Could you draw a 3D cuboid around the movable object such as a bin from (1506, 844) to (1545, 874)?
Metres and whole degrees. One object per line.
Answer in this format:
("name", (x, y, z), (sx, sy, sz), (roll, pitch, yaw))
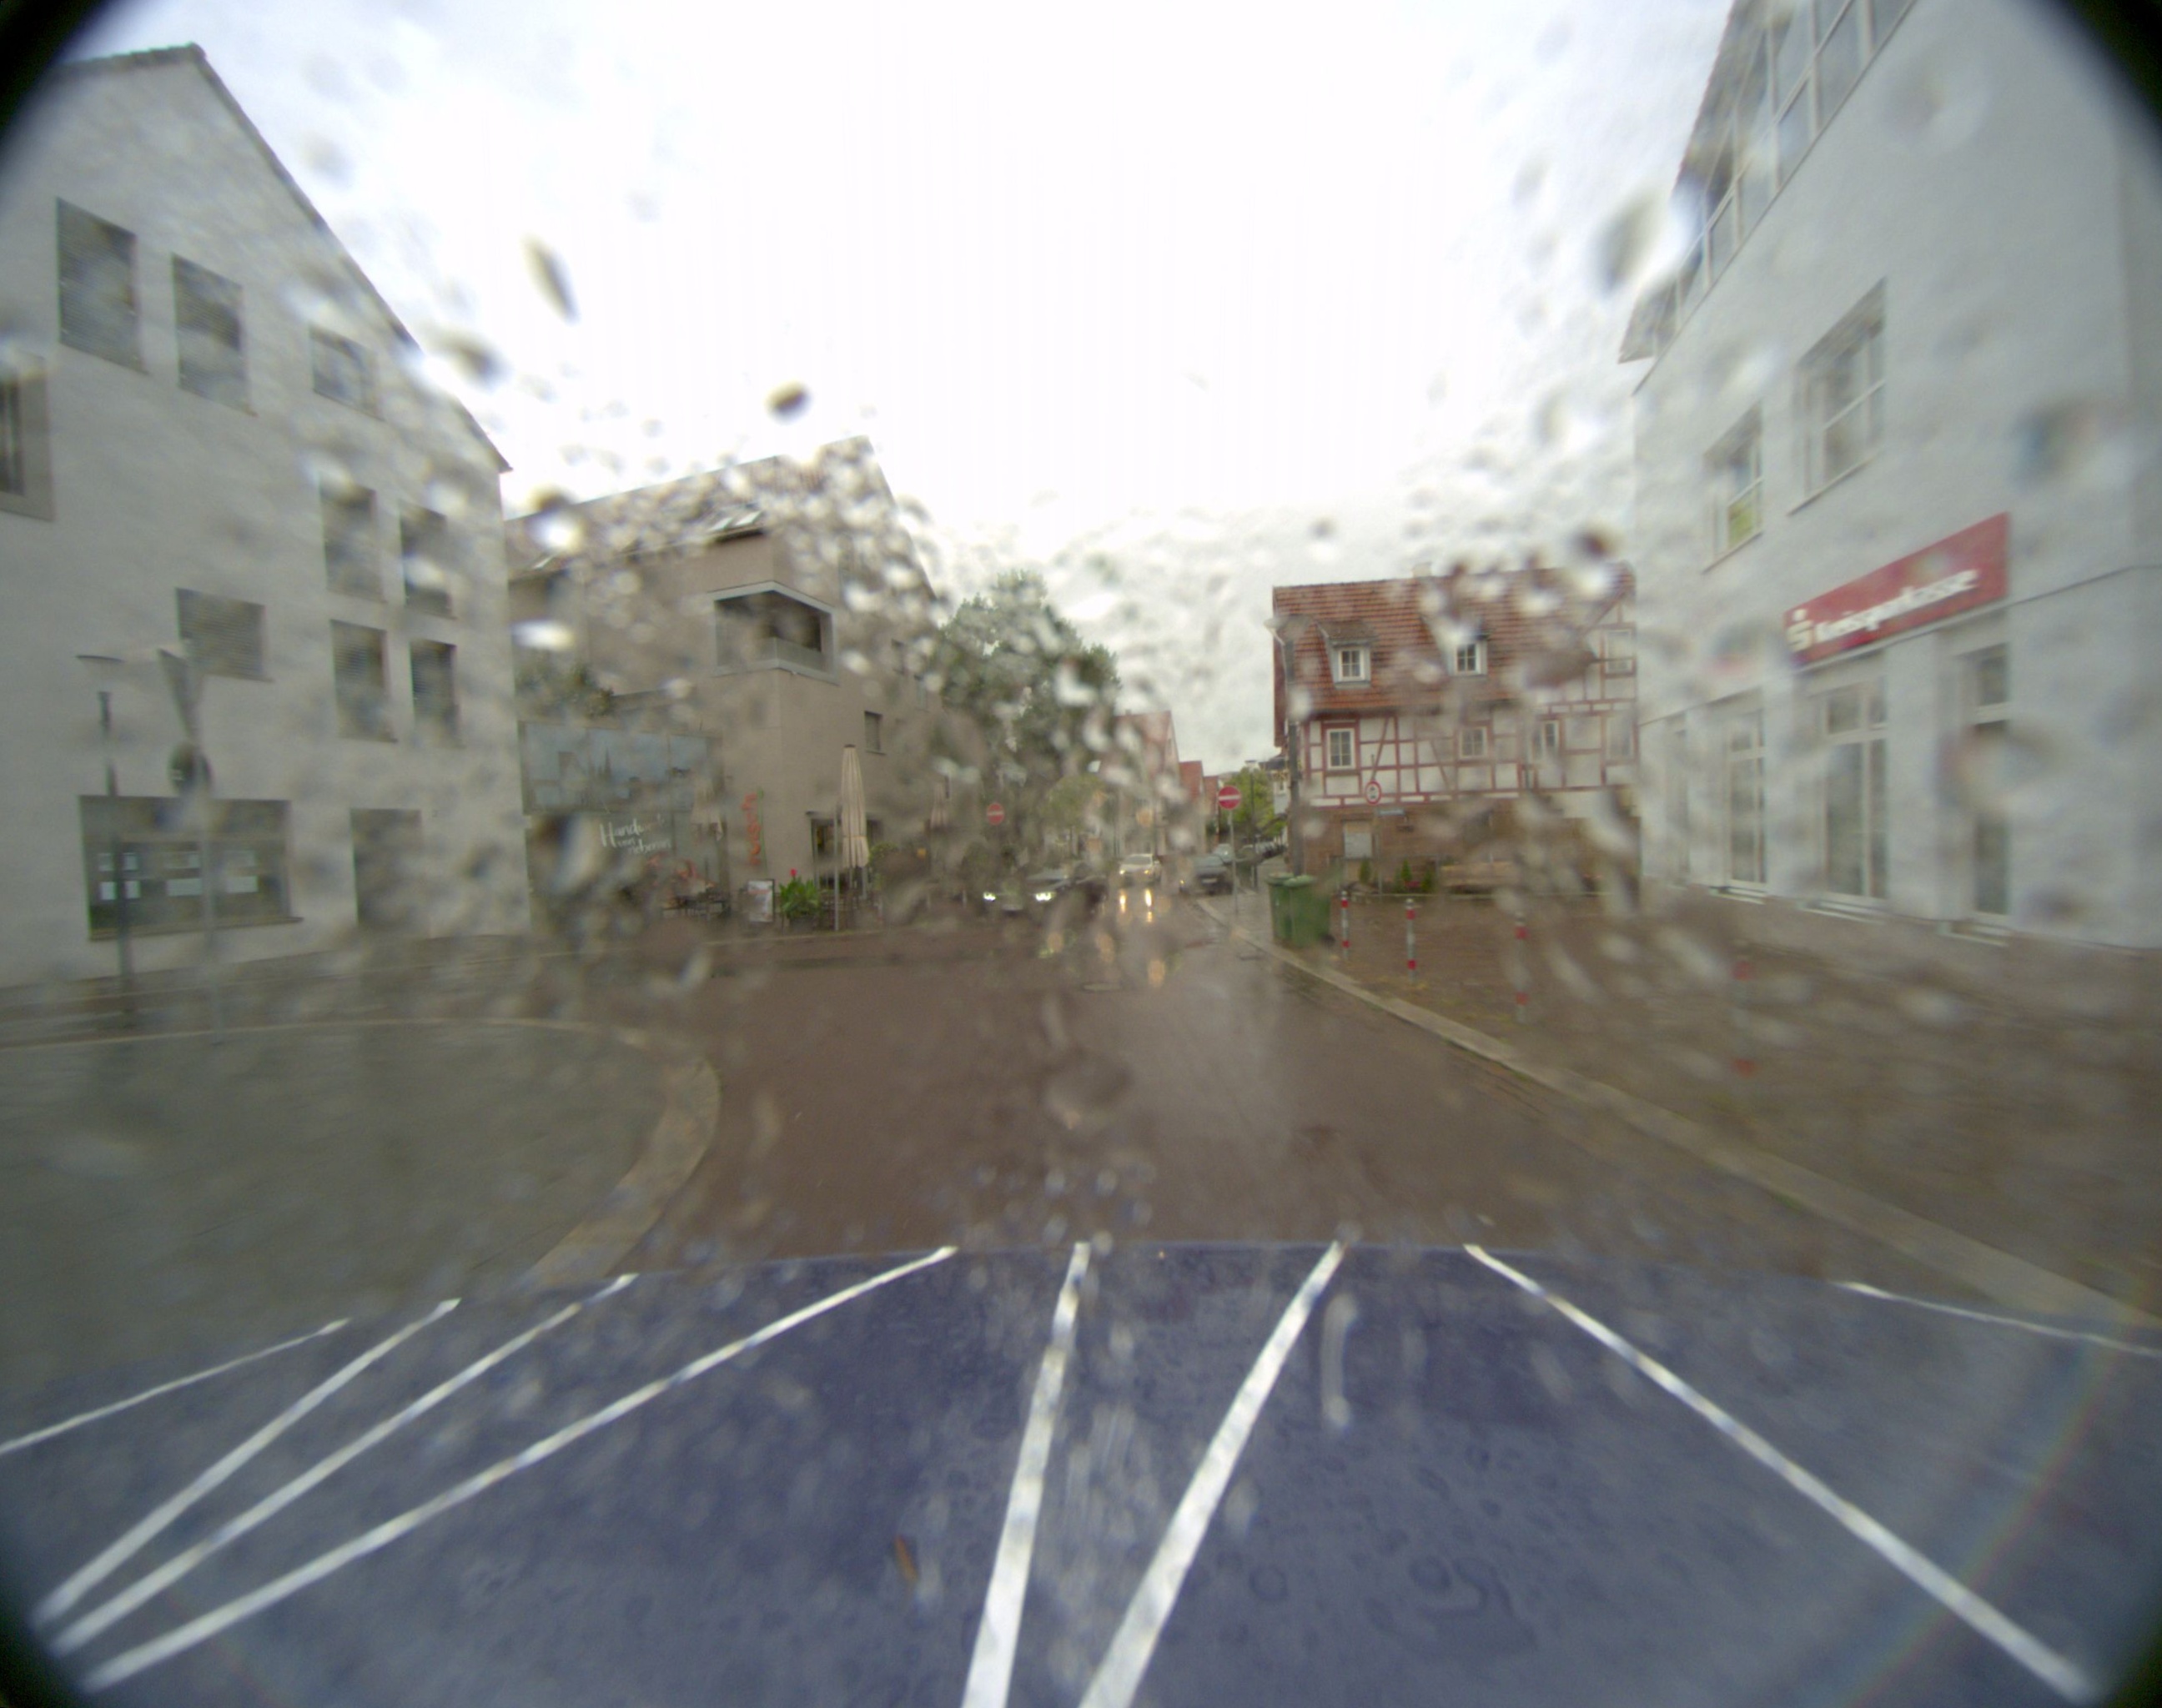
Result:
("movable object such as a bin", (13.122, 0.130, 22.451), (0.709, 0.852, 0.756), (-1, 1, 1))

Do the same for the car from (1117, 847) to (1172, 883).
("car", (3.210, 0.503, 37.584), (1.866, 1.577, 4.619), (-1, 1, 15))

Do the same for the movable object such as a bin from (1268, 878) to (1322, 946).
("movable object such as a bin", (3.505, 0.944, 12.490), (0.697, 1.045, 0.645), (-1, 1, 1))

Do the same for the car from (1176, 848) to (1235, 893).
("car", (4.616, 0.582, 28.633), (1.806, 1.434, 4.001), (-3, 1, 5))

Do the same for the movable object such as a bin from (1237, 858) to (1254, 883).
("movable object such as a bin", (6.953, 0.696, 32.134), (0.612, 1.016, 0.530), (-1, 1, 1))

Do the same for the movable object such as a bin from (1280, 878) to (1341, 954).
("movable object such as a bin", (3.519, 0.937, 11.692), (0.697, 1.071, 0.645), (-4, 1, 1))

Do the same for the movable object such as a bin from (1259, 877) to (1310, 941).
("movable object such as a bin", (3.536, 0.944, 13.240), (0.697, 1.041, 0.645), (-1, 1, 1))

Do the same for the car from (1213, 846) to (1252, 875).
("car", (8.709, 0.330, 43.455), (1.805, 1.434, 4.003), (-3, 1, 15))

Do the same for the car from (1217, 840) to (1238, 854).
("car", (15.967, -0.773, 82.770), (1.865, 1.452, 4.004), (-1, 1, 16))

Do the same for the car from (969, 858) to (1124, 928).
("car", (-0.668, 0.861, 18.548), (1.876, 1.362, 4.453), (-1, 1, 25))
